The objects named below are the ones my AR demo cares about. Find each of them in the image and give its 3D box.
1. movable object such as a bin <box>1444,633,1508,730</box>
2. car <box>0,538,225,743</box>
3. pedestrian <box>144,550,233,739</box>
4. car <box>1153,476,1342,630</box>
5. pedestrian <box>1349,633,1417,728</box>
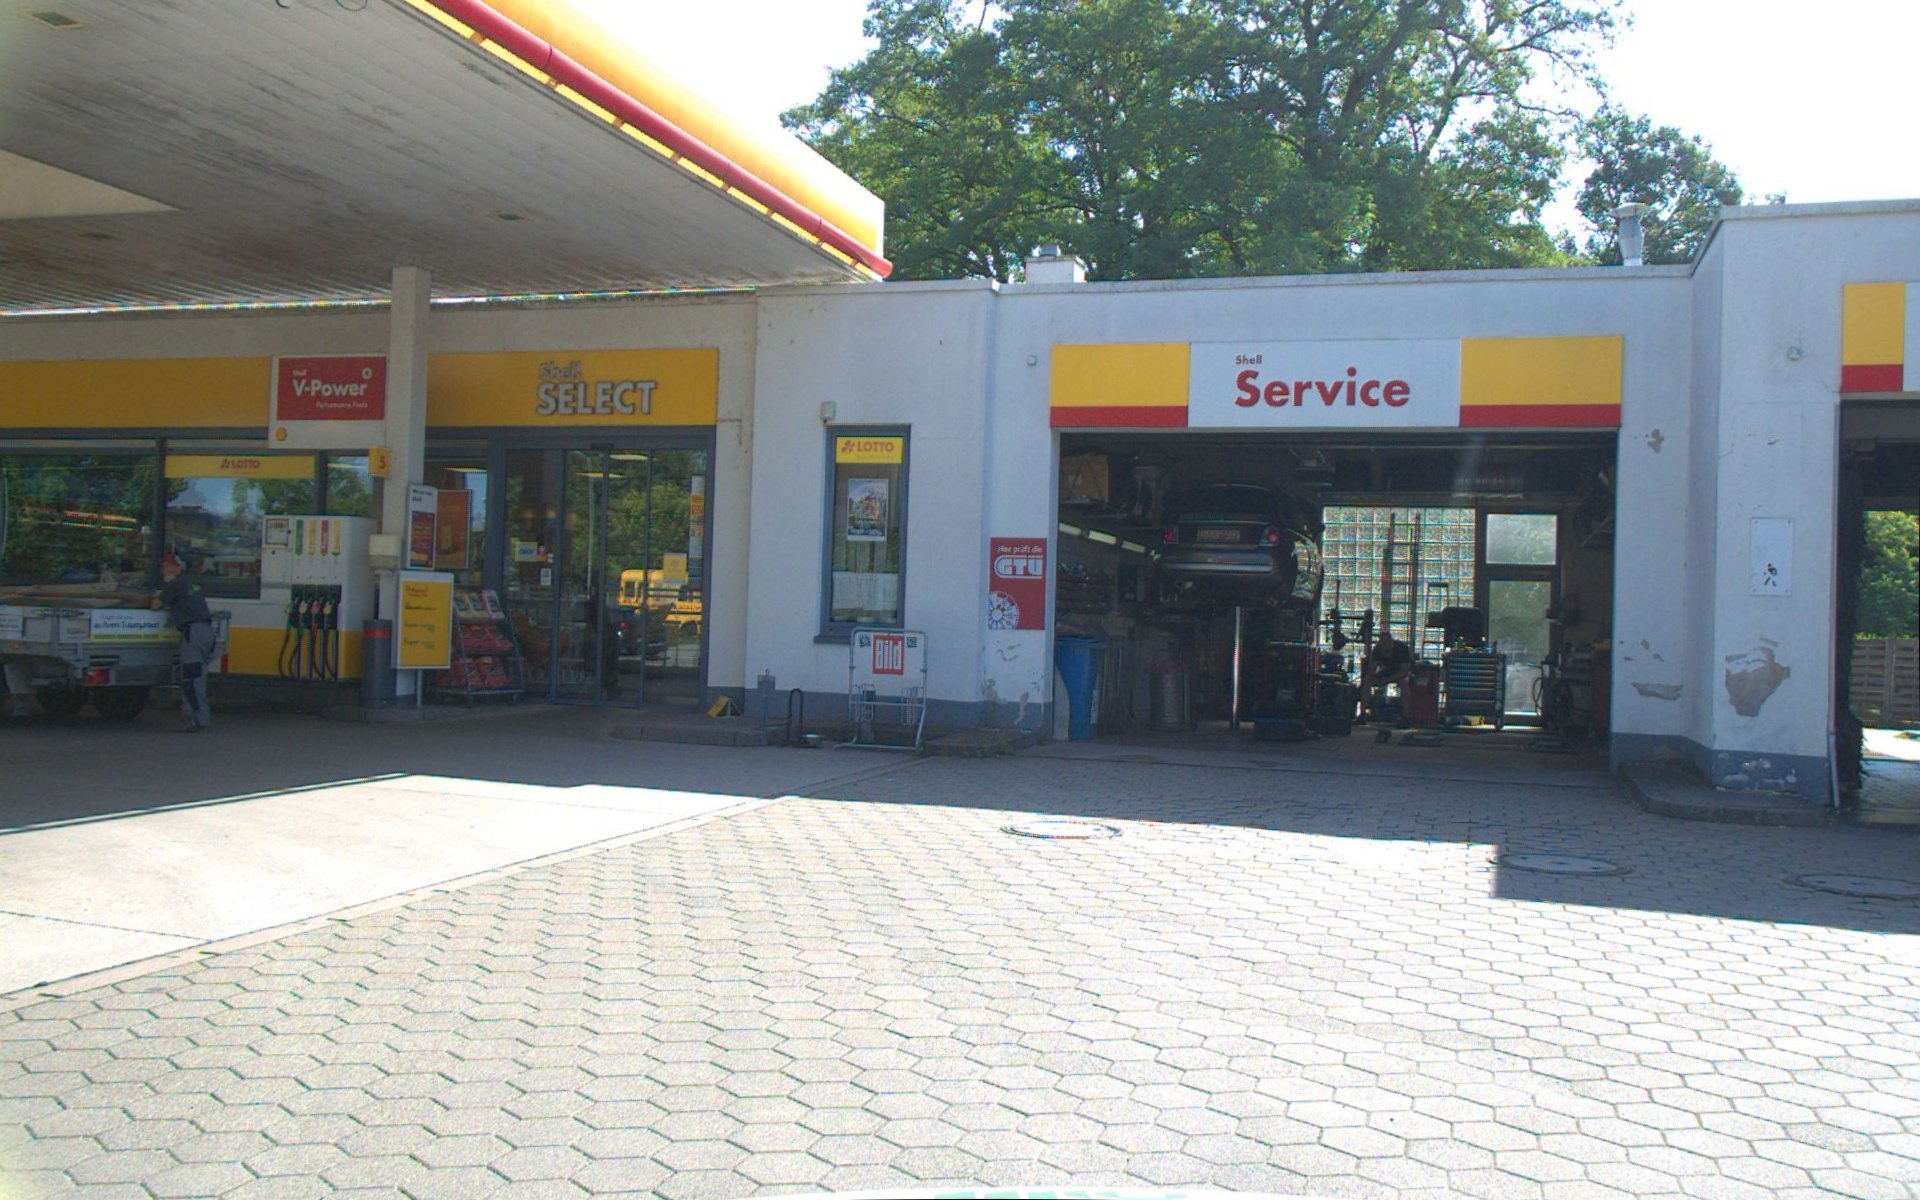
[{"bbox_3d":[6.880,1.086,22.043,0.780,1.258,0.544,1,-3,19],"label":"movable object such as a bin"},{"bbox_3d":[-9.250,0.346,15.791,3.905,1.758,1.833,1,-1,21],"label":"car"},{"bbox_3d":[-7.099,0.404,15.228,0.489,1.698,0.476,1,-1,19],"label":"pedestrian"},{"bbox_3d":[3.612,-0.494,20.225,1.612,1.512,4.000,1,-3,19],"label":"car"},{"bbox_3d":[5.660,1.077,22.104,0.845,1.219,0.743,1,-3,17],"label":"pedestrian"}]
